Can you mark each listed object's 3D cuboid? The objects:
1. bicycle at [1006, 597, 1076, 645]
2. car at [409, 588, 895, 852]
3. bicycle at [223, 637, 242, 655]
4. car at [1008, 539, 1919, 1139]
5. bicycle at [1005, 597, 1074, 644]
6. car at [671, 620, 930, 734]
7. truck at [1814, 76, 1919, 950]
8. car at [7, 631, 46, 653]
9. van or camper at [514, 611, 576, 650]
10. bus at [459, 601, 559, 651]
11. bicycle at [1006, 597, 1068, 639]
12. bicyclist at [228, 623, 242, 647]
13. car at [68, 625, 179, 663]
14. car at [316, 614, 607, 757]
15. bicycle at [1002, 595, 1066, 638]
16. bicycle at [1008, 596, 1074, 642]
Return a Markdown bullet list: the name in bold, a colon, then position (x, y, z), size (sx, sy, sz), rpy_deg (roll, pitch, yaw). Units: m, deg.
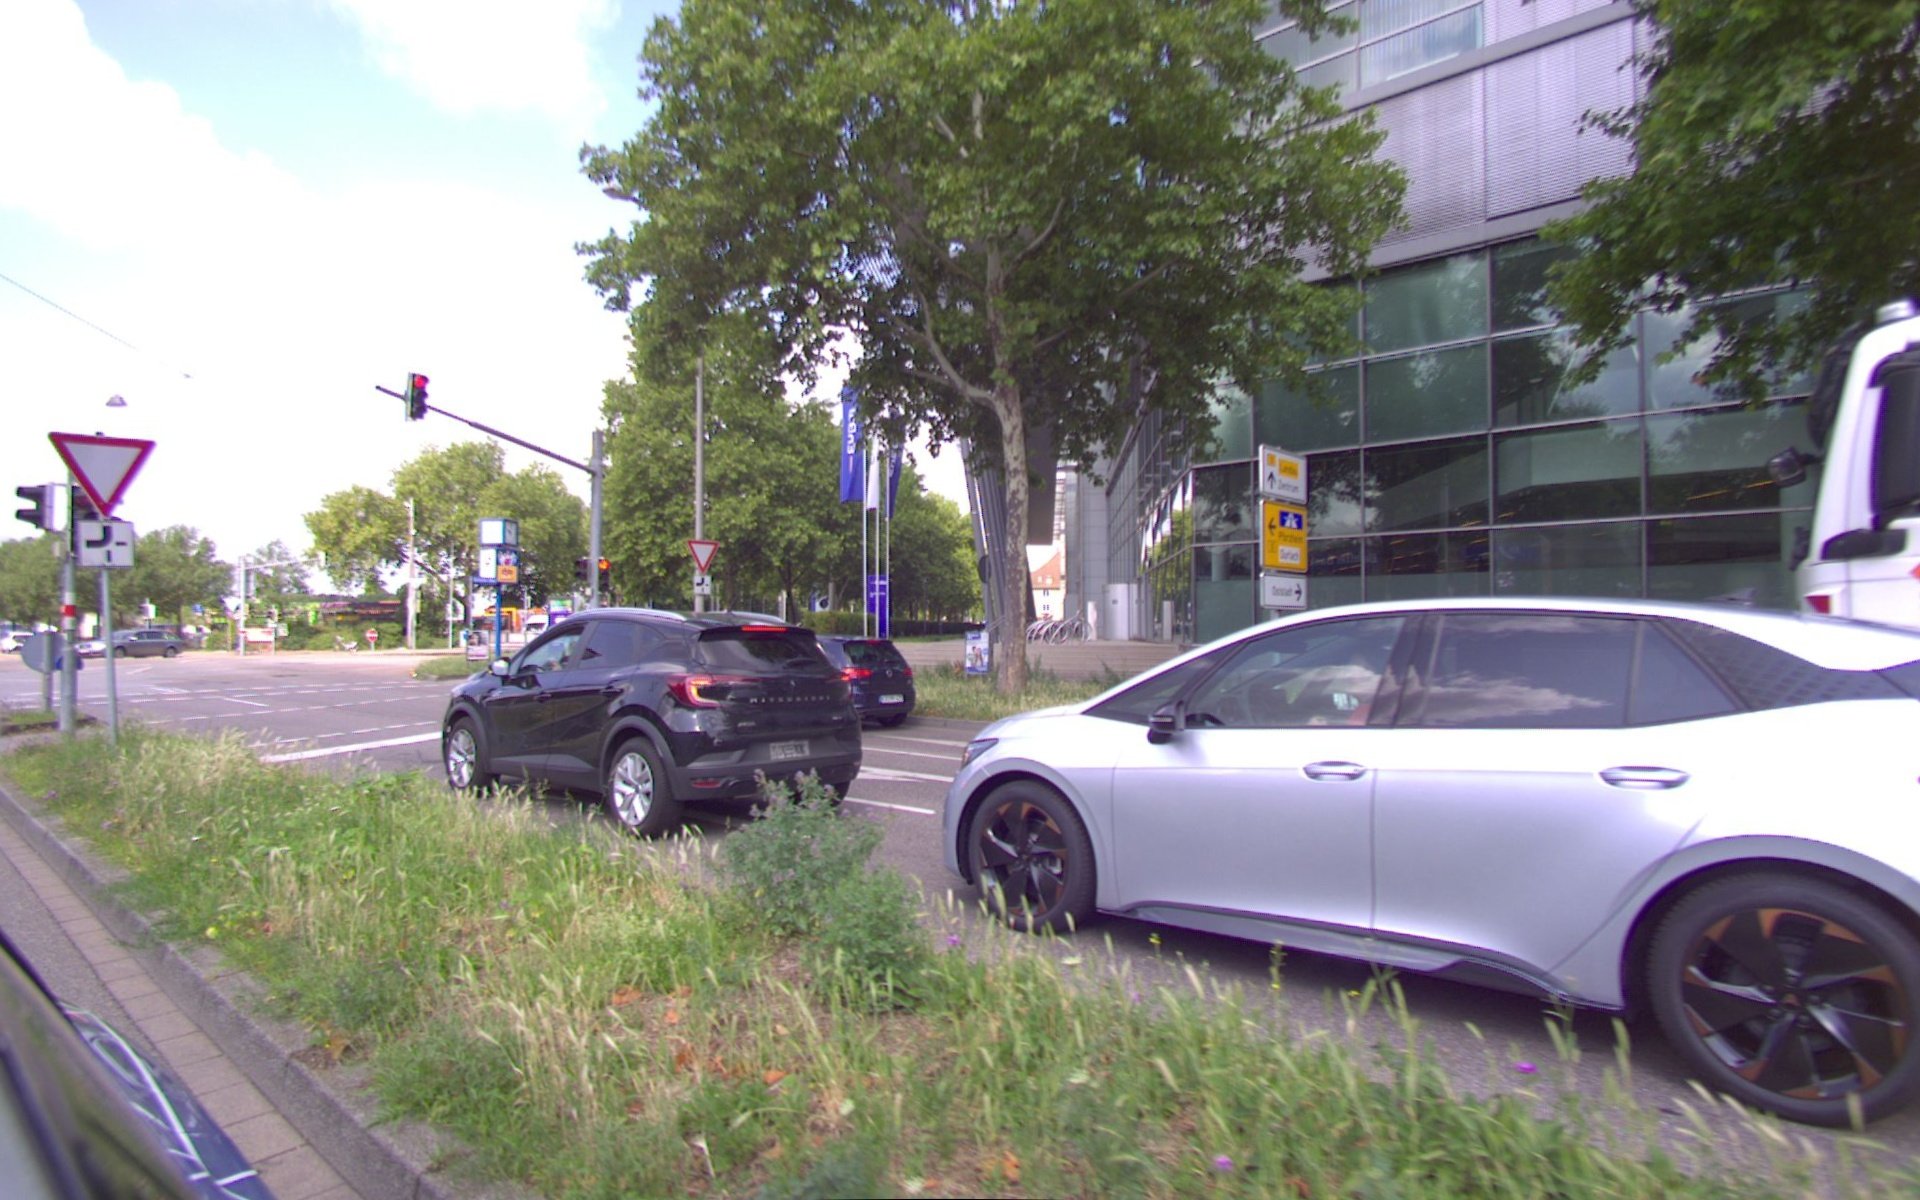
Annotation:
- **bicycle**: position (2.662, 0.667, 33.055), size (2.158, 1.451, 0.689), rpy_deg (2, 1, 13)
- **car**: position (-2.680, 0.829, 8.225), size (4.358, 1.599, 1.690), rpy_deg (-3, -4, 40)
- **bicycle**: position (-50.498, 3.176, 70.215), size (0.780, 1.205, 2.235), rpy_deg (1, -2, -43)
- **car**: position (2.389, 0.678, 3.921), size (4.231, 1.564, 1.726), rpy_deg (-1, -4, 41)
- **bicycle**: position (2.656, 0.665, 33.763), size (2.158, 1.451, 0.689), rpy_deg (2, 1, 13)
- **car**: position (-2.575, 1.156, 15.973), size (3.992, 1.584, 1.713), rpy_deg (-1, -4, 36)
- **truck**: position (8.665, -0.453, 2.290), size (10.158, 3.917, 2.621), rpy_deg (-1, -3, 42)
- **car**: position (-67.000, 3.039, 72.682), size (1.722, 1.490, 3.806), rpy_deg (3, -4, -38)
- **van or camper**: position (-33.550, 2.403, 82.048), size (2.137, 2.806, 5.958), rpy_deg (3, 1, 4)
- **bus**: position (-36.413, 1.971, 82.265), size (2.712, 3.491, 10.379), rpy_deg (2, 1, 5)
- **bicycle**: position (2.800, 0.635, 36.667), size (2.118, 1.394, 0.739), rpy_deg (2, 1, 13)
- **bicyclist**: position (-50.440, 2.436, 70.423), size (0.667, 1.699, 0.756), rpy_deg (1, -2, -43)
- **car**: position (-39.404, 2.035, 47.790), size (1.750, 1.475, 3.994), rpy_deg (-1, 1, 5)
- **car**: position (-6.761, 1.030, 13.509), size (4.565, 1.586, 1.846), rpy_deg (-2, -2, 40)
- **bicycle**: position (2.602, 0.560, 35.681), size (2.118, 1.394, 0.739), rpy_deg (2, 1, 13)
- **bicycle**: position (2.785, 0.634, 34.810), size (2.158, 1.451, 0.689), rpy_deg (2, 1, 13)
